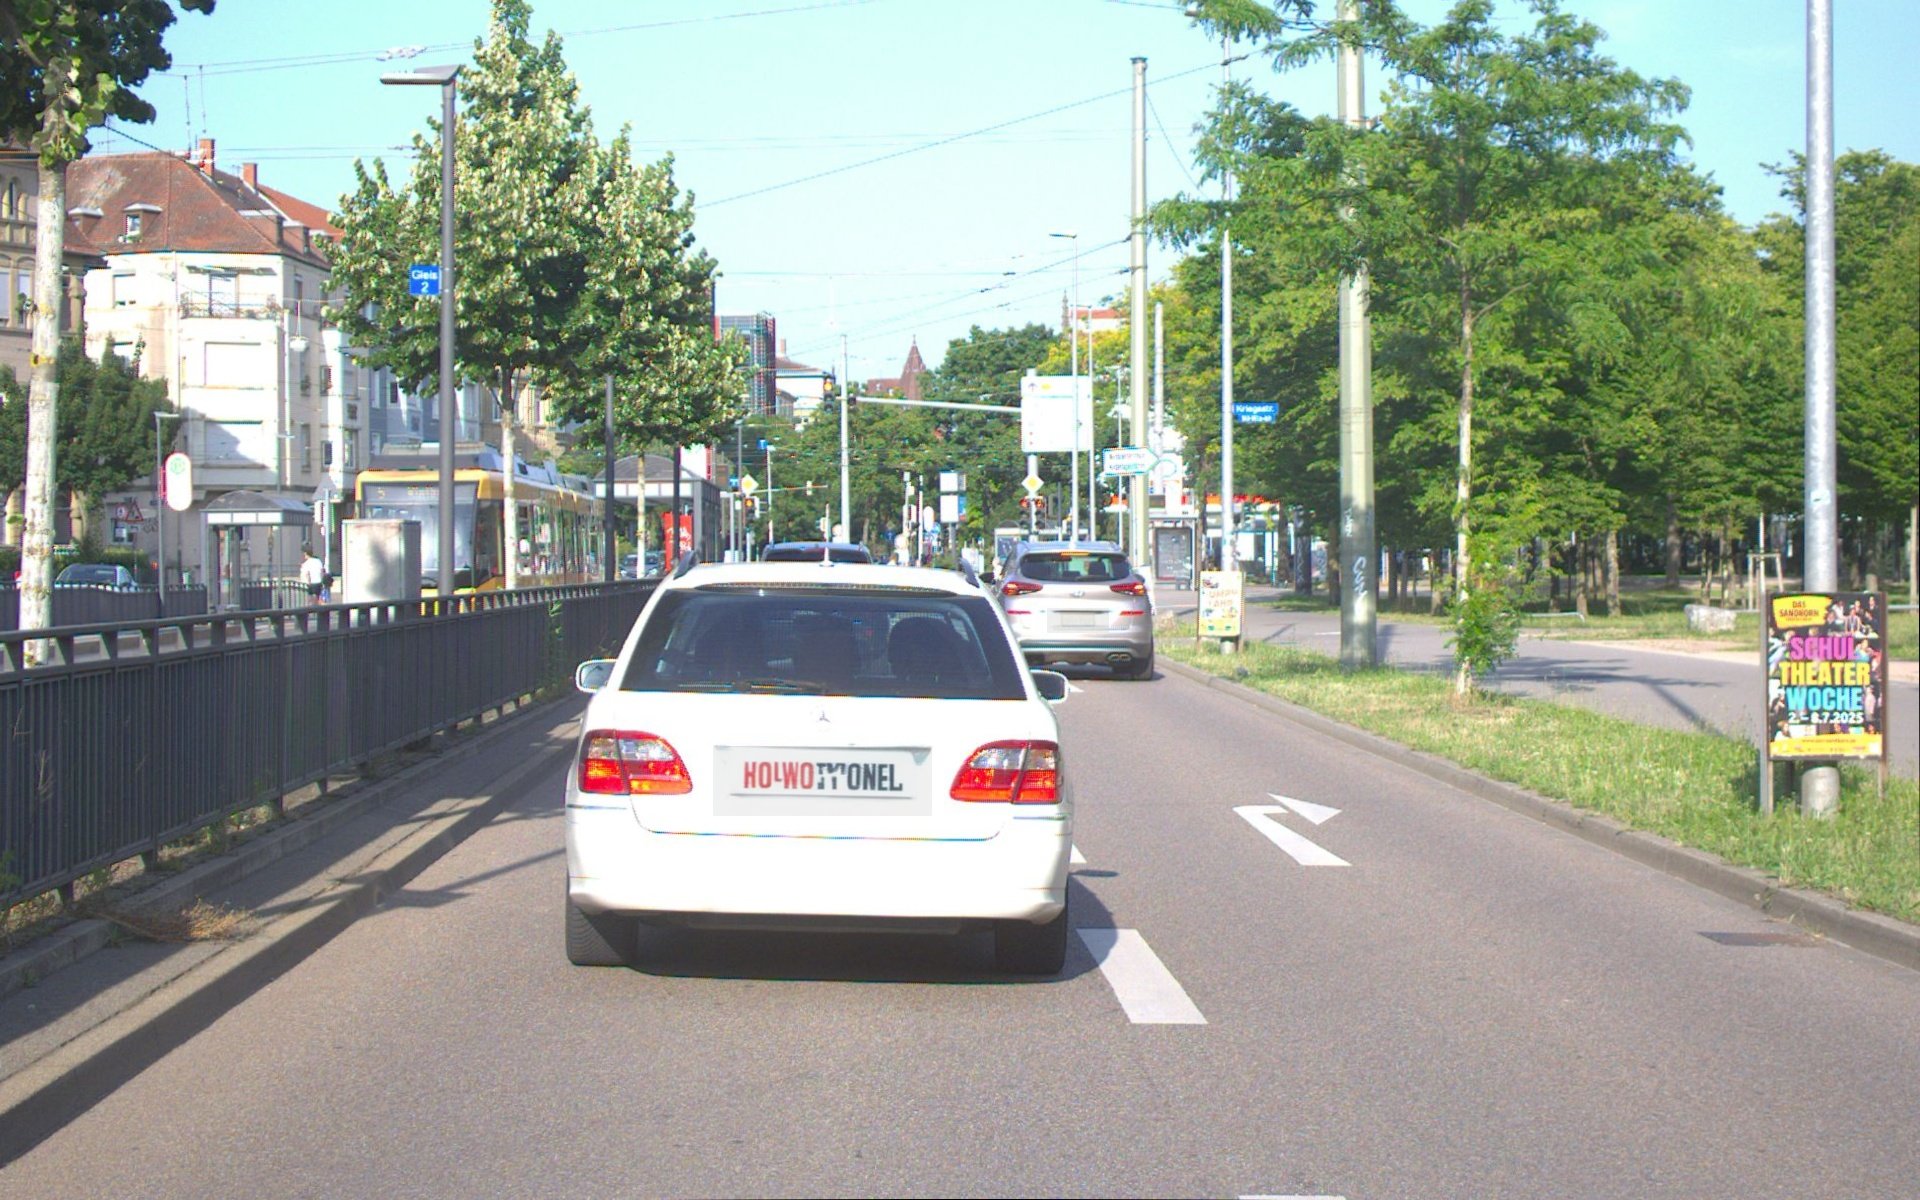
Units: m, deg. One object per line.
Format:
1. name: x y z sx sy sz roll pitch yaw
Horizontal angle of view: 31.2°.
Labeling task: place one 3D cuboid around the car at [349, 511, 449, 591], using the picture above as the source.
1. car: -19.805 -1.761 121.618 2.596 2.726 7.469 0 1 -2

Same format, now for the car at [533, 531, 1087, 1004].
1. car: -0.418 0.571 13.182 1.758 1.498 3.999 1 -1 2

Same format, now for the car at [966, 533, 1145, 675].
1. car: 1.169 0.007 41.207 2.033 1.600 4.000 1 1 2

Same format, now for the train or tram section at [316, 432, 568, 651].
1. train or tram section: -9.073 -1.103 61.839 2.849 3.467 13.201 1 1 -2

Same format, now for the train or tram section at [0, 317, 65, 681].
1. train or tram section: -10.706 -0.866 27.866 3.161 3.467 14.473 0 1 0

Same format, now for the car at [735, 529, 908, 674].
1. car: -1.666 -0.026 42.529 1.787 1.684 4.000 1 1 3

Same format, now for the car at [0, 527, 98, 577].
1. car: -31.391 -1.630 115.818 2.206 1.622 4.711 1 1 22

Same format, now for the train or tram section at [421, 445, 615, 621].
1. train or tram section: -9.442 -1.466 74.859 2.849 3.467 13.201 0 1 -2

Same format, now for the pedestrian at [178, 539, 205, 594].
1. pedestrian: -24.624 -1.073 110.139 0.665 1.747 0.746 1 1 2

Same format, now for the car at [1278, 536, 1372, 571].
1. car: 17.213 -2.189 162.255 3.992 1.645 1.998 0 1 24
